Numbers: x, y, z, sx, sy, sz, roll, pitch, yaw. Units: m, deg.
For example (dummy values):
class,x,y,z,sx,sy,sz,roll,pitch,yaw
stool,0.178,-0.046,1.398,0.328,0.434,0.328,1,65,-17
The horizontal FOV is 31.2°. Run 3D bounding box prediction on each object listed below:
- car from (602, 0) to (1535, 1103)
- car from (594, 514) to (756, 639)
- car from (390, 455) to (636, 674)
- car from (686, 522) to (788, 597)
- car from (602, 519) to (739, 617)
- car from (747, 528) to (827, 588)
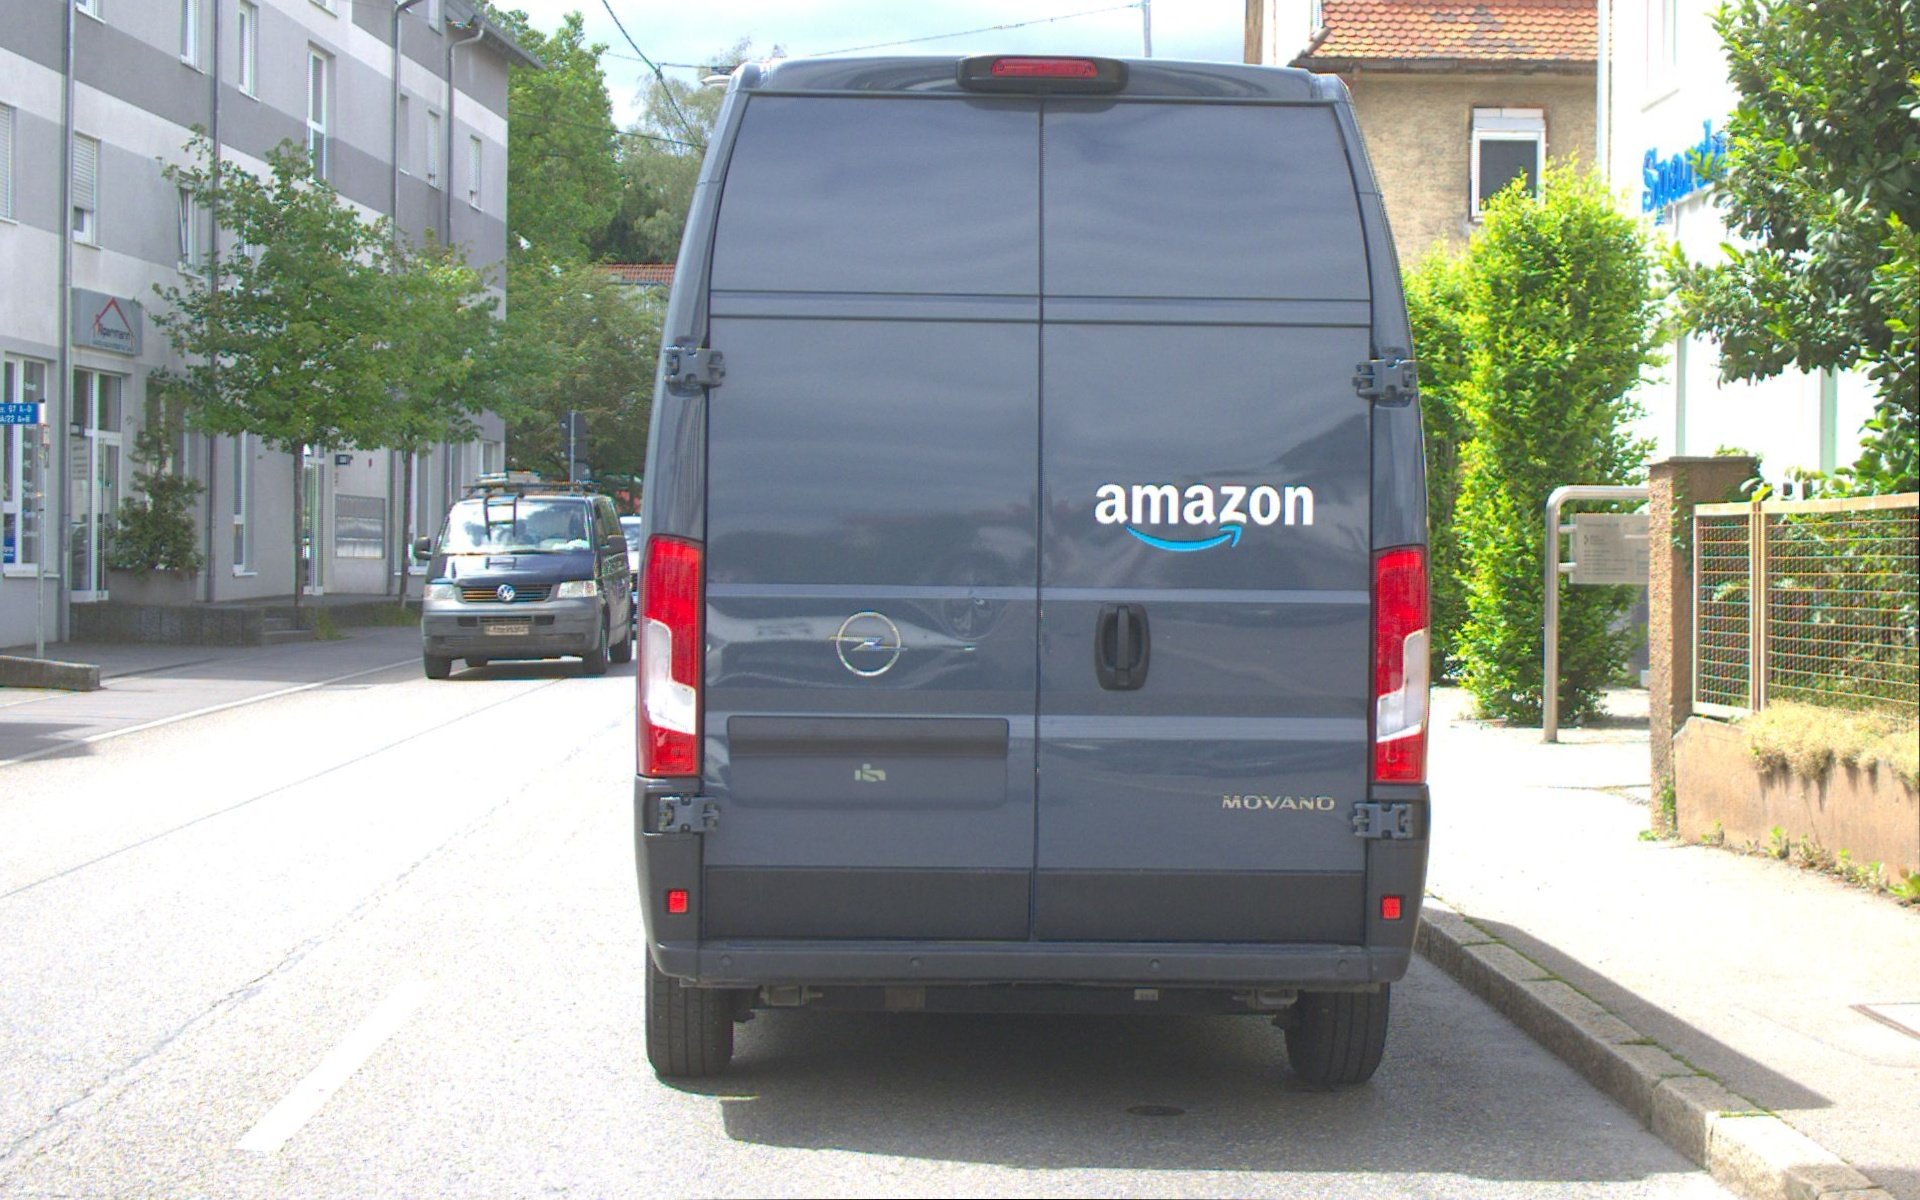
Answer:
class,x,y,z,sx,sy,sz,roll,pitch,yaw
car,0.150,-0.224,11.145,2.252,2.786,5.570,0,1,-2
car,-4.057,-0.374,49.580,2.105,1.704,4.766,0,1,-2
car,-4.646,-0.396,36.418,2.105,2.114,4.766,-2,1,-2
car,-4.873,-0.906,75.544,2.105,1.590,4.650,0,1,-2
car,-4.893,-0.566,58.568,2.105,1.590,4.650,0,1,-2
car,-4.682,-1.160,93.751,2.105,1.590,4.650,0,1,-2
